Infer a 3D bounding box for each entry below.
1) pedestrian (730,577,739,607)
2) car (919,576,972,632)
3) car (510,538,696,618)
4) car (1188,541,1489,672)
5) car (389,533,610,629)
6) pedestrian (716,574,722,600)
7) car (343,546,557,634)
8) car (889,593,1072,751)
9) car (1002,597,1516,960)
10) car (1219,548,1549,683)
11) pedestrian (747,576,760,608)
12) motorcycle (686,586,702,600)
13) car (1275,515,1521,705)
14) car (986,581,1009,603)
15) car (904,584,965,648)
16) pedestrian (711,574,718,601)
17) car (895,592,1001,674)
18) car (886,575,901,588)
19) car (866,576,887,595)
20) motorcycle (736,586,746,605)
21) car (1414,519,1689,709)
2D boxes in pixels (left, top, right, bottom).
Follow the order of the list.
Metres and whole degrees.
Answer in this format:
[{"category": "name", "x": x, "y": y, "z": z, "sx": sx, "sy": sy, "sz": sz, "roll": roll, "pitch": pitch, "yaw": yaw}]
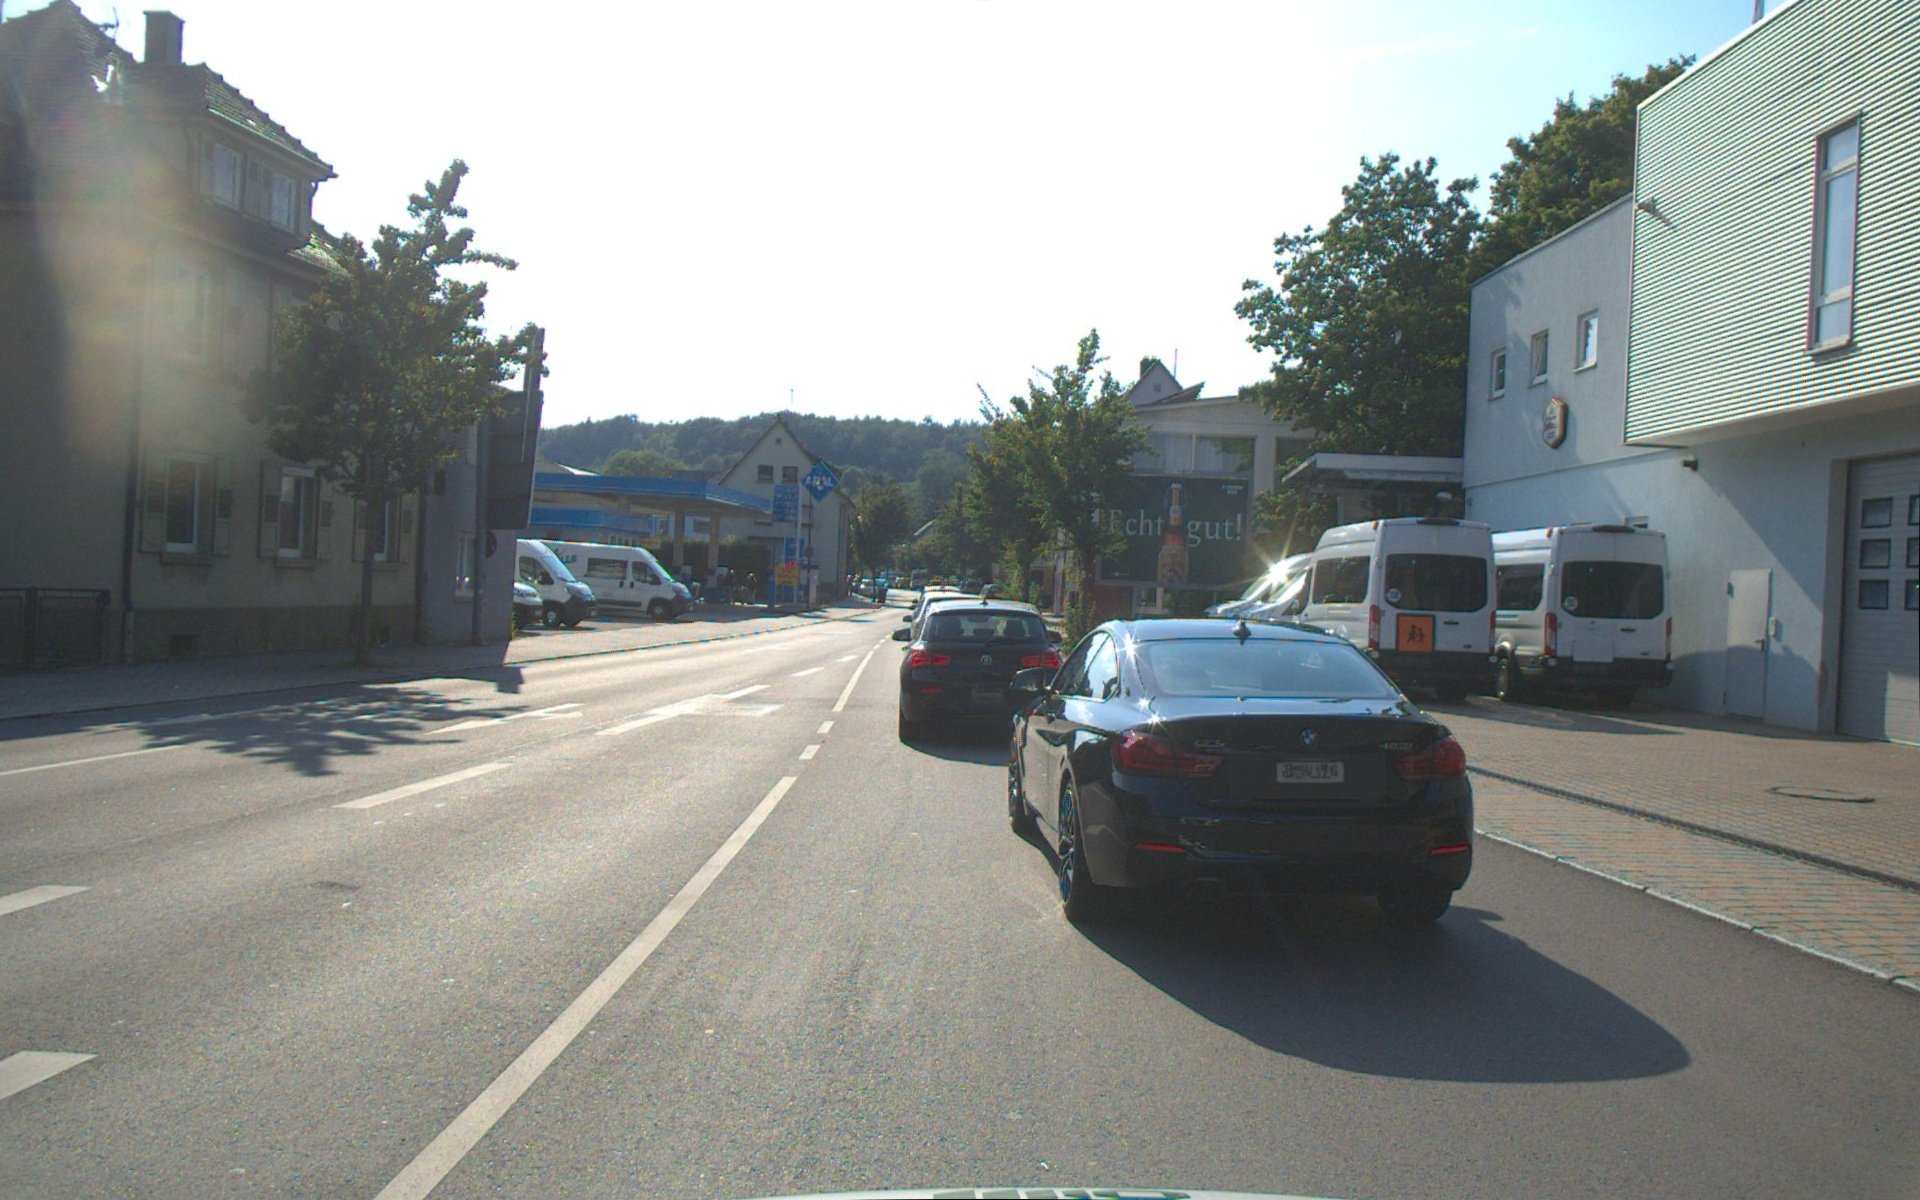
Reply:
[{"category": "pedestrian", "x": -12.266, "y": -0.436, "z": 89.893, "sx": 0.399, "sy": 1.574, "sz": 0.432, "roll": 2, "pitch": 1, "yaw": -3}, {"category": "car", "x": -0.450, "y": 0.108, "z": 55.454, "sx": 1.569, "sy": 1.798, "sz": 3.412, "roll": 2, "pitch": 1, "yaw": 2}, {"category": "car", "x": -12.629, "y": -0.781, "z": 58.824, "sx": 6.033, "sy": 2.487, "sz": 2.249, "roll": 3, "pitch": 1, "yaw": 0}, {"category": "car", "x": 8.049, "y": 0.126, "z": 35.540, "sx": 5.922, "sy": 2.560, "sz": 2.043, "roll": 2, "pitch": 1, "yaw": -3}, {"category": "car", "x": -13.594, "y": -0.581, "z": 49.027, "sx": 5.796, "sy": 2.523, "sz": 2.195, "roll": 3, "pitch": 1, "yaw": 4}, {"category": "pedestrian", "x": -12.963, "y": -0.695, "z": 89.032, "sx": 0.256, "sy": 1.407, "sz": 0.288, "roll": 2, "pitch": 0, "yaw": 0}, {"category": "car", "x": -13.269, "y": -0.268, "z": 43.228, "sx": 4.873, "sy": 2.034, "sz": 1.936, "roll": 3, "pitch": 0, "yaw": 2}, {"category": "car", "x": 0.228, "y": 0.691, "z": 17.828, "sx": 1.735, "sy": 1.481, "sz": 3.516, "roll": 2, "pitch": 0, "yaw": 1}, {"category": "car", "x": 1.283, "y": 0.730, "z": 8.855, "sx": 1.666, "sy": 1.392, "sz": 4.259, "roll": 1, "pitch": 1, "yaw": -5}, {"category": "car", "x": 8.263, "y": 0.290, "z": 32.566, "sx": 5.922, "sy": 2.404, "sz": 2.043, "roll": 2, "pitch": 1, "yaw": -3}, {"category": "pedestrian", "x": -11.200, "y": -0.440, "z": 89.798, "sx": 0.598, "sy": 1.699, "sz": 0.442, "roll": 2, "pitch": 1, "yaw": -3}, {"category": "motorcycle", "x": -14.453, "y": -0.360, "z": 89.873, "sx": 0.449, "sy": 0.742, "sz": 1.475, "roll": 1, "pitch": 0, "yaw": 7}, {"category": "car", "x": 7.045, "y": 0.093, "z": 27.527, "sx": 2.106, "sy": 2.727, "sz": 6.601, "roll": 2, "pitch": 1, "yaw": -2}, {"category": "car", "x": 2.795, "y": -0.602, "z": 124.558, "sx": 1.564, "sy": 1.511, "sz": 3.474, "roll": 3, "pitch": 1, "yaw": -1}, {"category": "car", "x": -0.723, "y": 0.404, "z": 45.476, "sx": 1.559, "sy": 1.628, "sz": 3.892, "roll": 2, "pitch": 1, "yaw": -1}, {"category": "pedestrian", "x": -13.090, "y": -0.664, "z": 88.238, "sx": 0.281, "sy": 1.390, "sz": 0.262, "roll": 2, "pitch": 0, "yaw": -4}, {"category": "car", "x": -0.287, "y": 0.604, "z": 32.259, "sx": 1.720, "sy": 1.438, "sz": 3.418, "roll": 2, "pitch": 1, "yaw": -6}, {"category": "car", "x": -7.718, "y": -2.154, "z": 191.326, "sx": 1.564, "sy": 1.511, "sz": 3.474, "roll": 3, "pitch": 1, "yaw": -1}, {"category": "car", "x": -6.919, "y": -1.222, "z": 136.826, "sx": 1.564, "sy": 1.511, "sz": 3.474, "roll": 3, "pitch": 1, "yaw": -1}, {"category": "motorcycle", "x": -11.835, "y": -0.249, "z": 89.451, "sx": 0.356, "sy": 0.960, "sz": 1.695, "roll": 2, "pitch": 1, "yaw": -1}, {"category": "car", "x": 9.681, "y": 0.161, "z": 27.813, "sx": 2.069, "sy": 2.769, "sz": 6.441, "roll": 2, "pitch": 1, "yaw": -2}]
